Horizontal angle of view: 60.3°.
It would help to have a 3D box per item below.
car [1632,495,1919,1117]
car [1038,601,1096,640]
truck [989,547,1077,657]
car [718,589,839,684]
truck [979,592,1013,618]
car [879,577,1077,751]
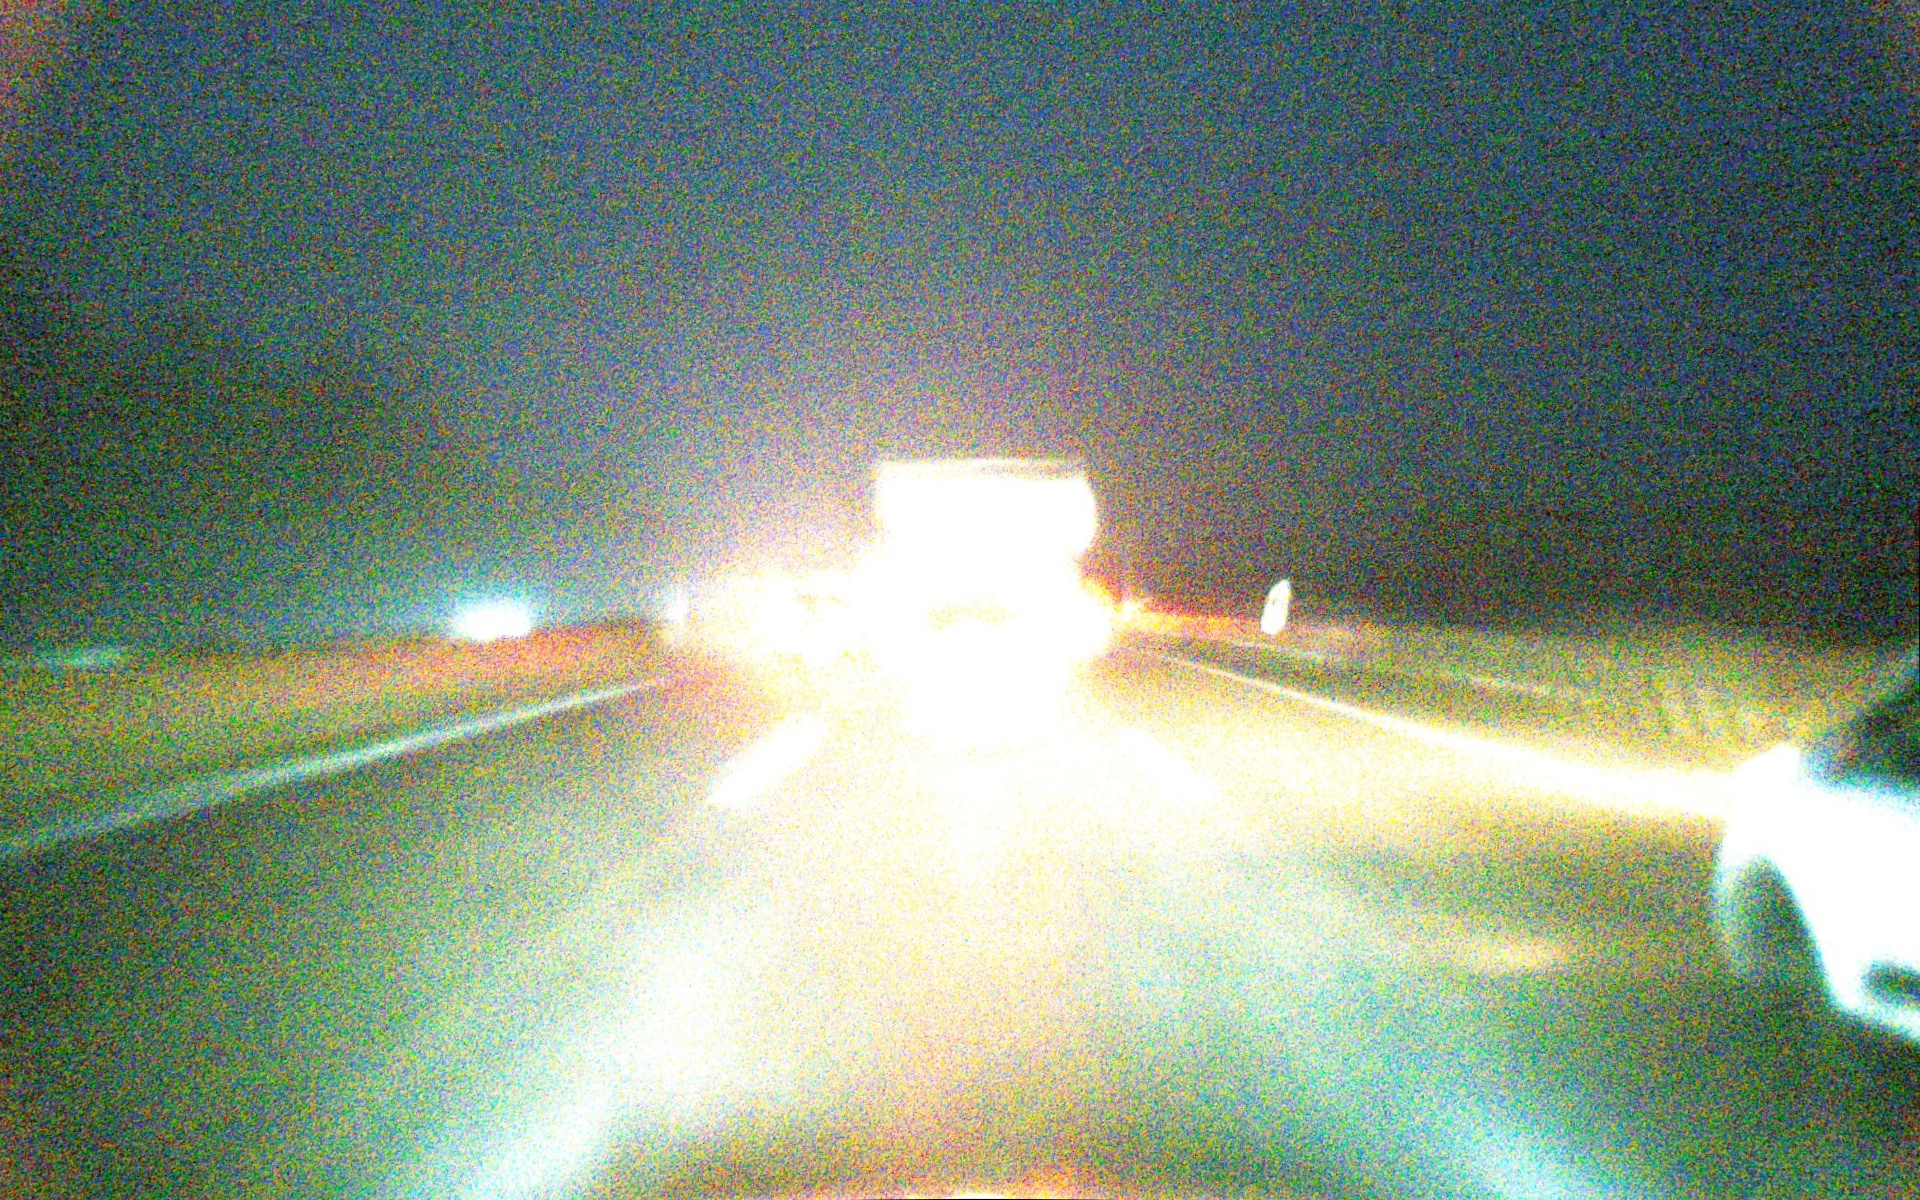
[{"bbox_3d":[3.783,0.614,4.336,1.913,1.823,5.123,1,0,0],"label":"car"},{"bbox_3d":[4.068,0.759,63.449,1.851,1.378,3.999,2,0,-1],"label":"car"},{"bbox_3d":[3.940,0.123,93.447,4.083,5.641,13.072,-2,0,-1],"label":"truck"},{"bbox_3d":[-3.771,0.737,35.203,1.953,1.808,4.887,-2,0,0],"label":"car"},{"bbox_3d":[4.540,0.660,211.631,3.757,3.108,11.002,1,0,-1],"label":"truck"},{"bbox_3d":[0.164,0.631,18.210,1.877,1.622,4.233,-2,0,0],"label":"car"}]
